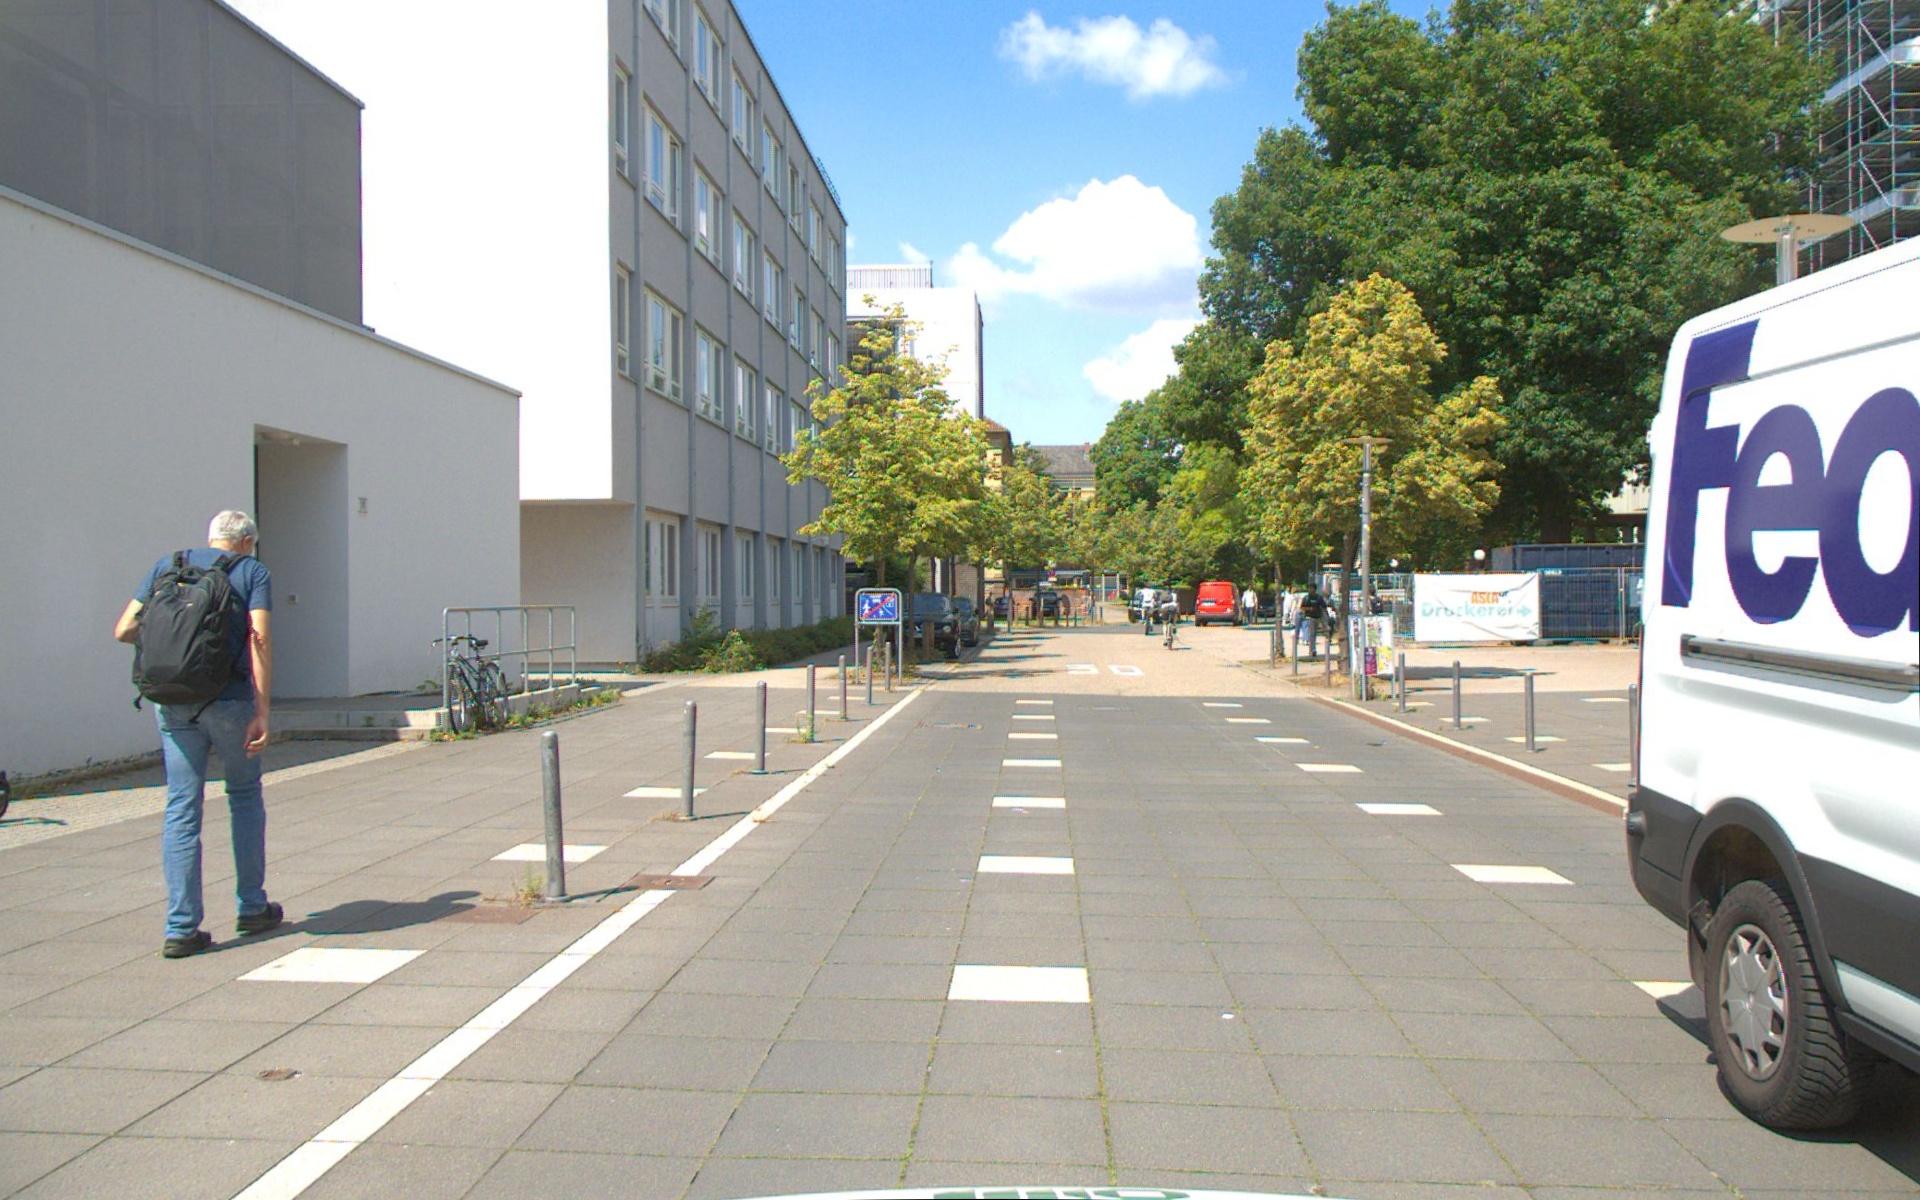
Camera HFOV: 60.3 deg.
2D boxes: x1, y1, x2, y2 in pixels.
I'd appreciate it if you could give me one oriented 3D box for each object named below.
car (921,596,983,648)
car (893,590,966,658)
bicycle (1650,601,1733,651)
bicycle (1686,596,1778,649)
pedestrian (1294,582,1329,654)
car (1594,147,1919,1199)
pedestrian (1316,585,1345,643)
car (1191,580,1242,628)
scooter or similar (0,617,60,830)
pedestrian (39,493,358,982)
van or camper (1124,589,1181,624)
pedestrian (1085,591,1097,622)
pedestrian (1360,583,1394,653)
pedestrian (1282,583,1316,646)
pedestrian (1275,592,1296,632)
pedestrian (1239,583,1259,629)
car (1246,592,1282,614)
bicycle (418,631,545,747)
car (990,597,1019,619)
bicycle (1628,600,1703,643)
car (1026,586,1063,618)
[{"bbox_3d":[-0.209,0.631,49.666,1.741,1.486,4.259,0,0,1],"label":"car"},{"bbox_3d":[-0.730,0.558,41.550,1.662,1.591,4.068,-1,0,1],"label":"car"},{"bbox_3d":[16.806,0.598,38.015,1.666,1.129,0.448,-1,0,3],"label":"bicycle"},{"bbox_3d":[16.781,0.484,35.955,1.768,1.129,0.448,-1,0,3],"label":"bicycle"},{"bbox_3d":[8.496,0.427,40.005,0.628,1.726,0.792,-1,0,-3],"label":"pedestrian"},{"bbox_3d":[3.283,0.211,3.063,2.016,2.587,5.850,-1,0,1],"label":"car"},{"bbox_3d":[10.649,0.394,47.605,0.654,1.628,0.986,-1,0,5],"label":"pedestrian"},{"bbox_3d":[10.907,0.153,70.149,1.809,1.924,4.894,-1,0,12],"label":"car"},{"bbox_3d":[-6.107,0.759,9.912,0.472,1.285,1.314,-1,0,15],"label":"scooter or similar"},{"bbox_3d":[-3.107,0.519,6.873,0.807,1.849,1.144,-1,0,-3],"label":"pedestrian"},{"bbox_3d":[11.333,0.352,96.832,1.914,1.957,5.419,0,0,22],"label":"van or camper"},{"bbox_3d":[7.479,0.371,94.298,0.571,1.795,0.912,-1,0,7],"label":"pedestrian"},{"bbox_3d":[10.282,0.449,40.820,0.635,1.695,0.905,-1,0,4],"label":"pedestrian"},{"bbox_3d":[9.845,0.425,48.072,0.832,1.795,0.716,-1,0,3],"label":"pedestrian"},{"bbox_3d":[15.189,0.568,77.080,0.715,1.853,0.623,-1,0,-33],"label":"pedestrian"},{"bbox_3d":[11.612,0.246,66.451,0.680,1.812,0.787,-1,0,14],"label":"pedestrian"},{"bbox_3d":[22.314,0.183,121.143,1.724,1.548,4.110,-1,0,23],"label":"car"},{"bbox_3d":[-4.923,0.891,17.144,0.531,1.080,1.900,-1,0,8],"label":"bicycle"},{"bbox_3d":[2.833,0.486,105.463,1.779,1.347,3.769,-1,0,2],"label":"car"},{"bbox_3d":[17.207,0.517,40.354,1.636,1.021,0.448,-1,0,3],"label":"bicycle"},{"bbox_3d":[5.353,0.129,105.172,2.130,1.959,5.186,-1,0,1],"label":"car"}]
